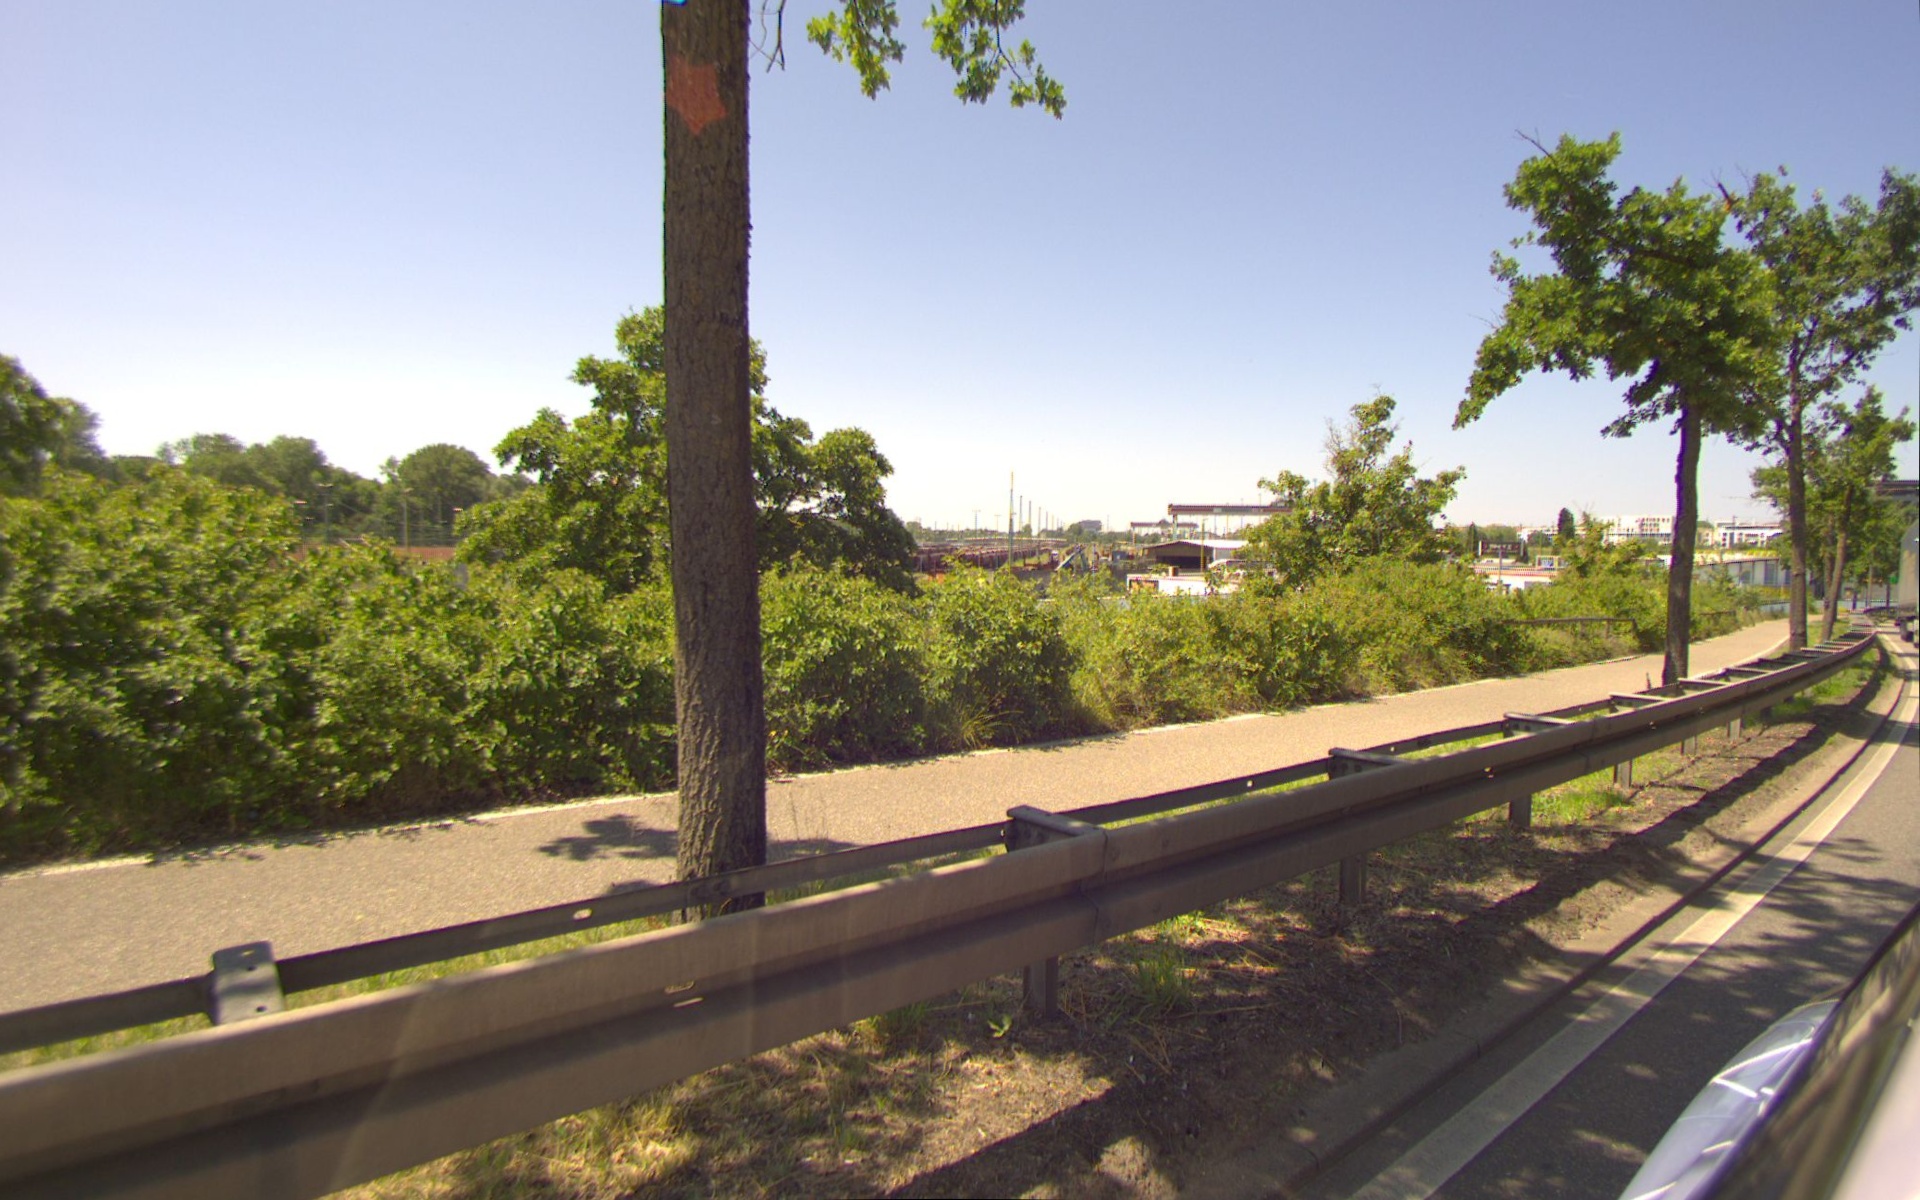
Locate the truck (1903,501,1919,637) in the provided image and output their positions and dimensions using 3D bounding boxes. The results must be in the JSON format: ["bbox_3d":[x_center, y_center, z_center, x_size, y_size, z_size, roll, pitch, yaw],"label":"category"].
[{"bbox_3d":[33.742,-0.994,33.599,3.060,4.223,16.659,0,1,41],"label":"truck"}]
